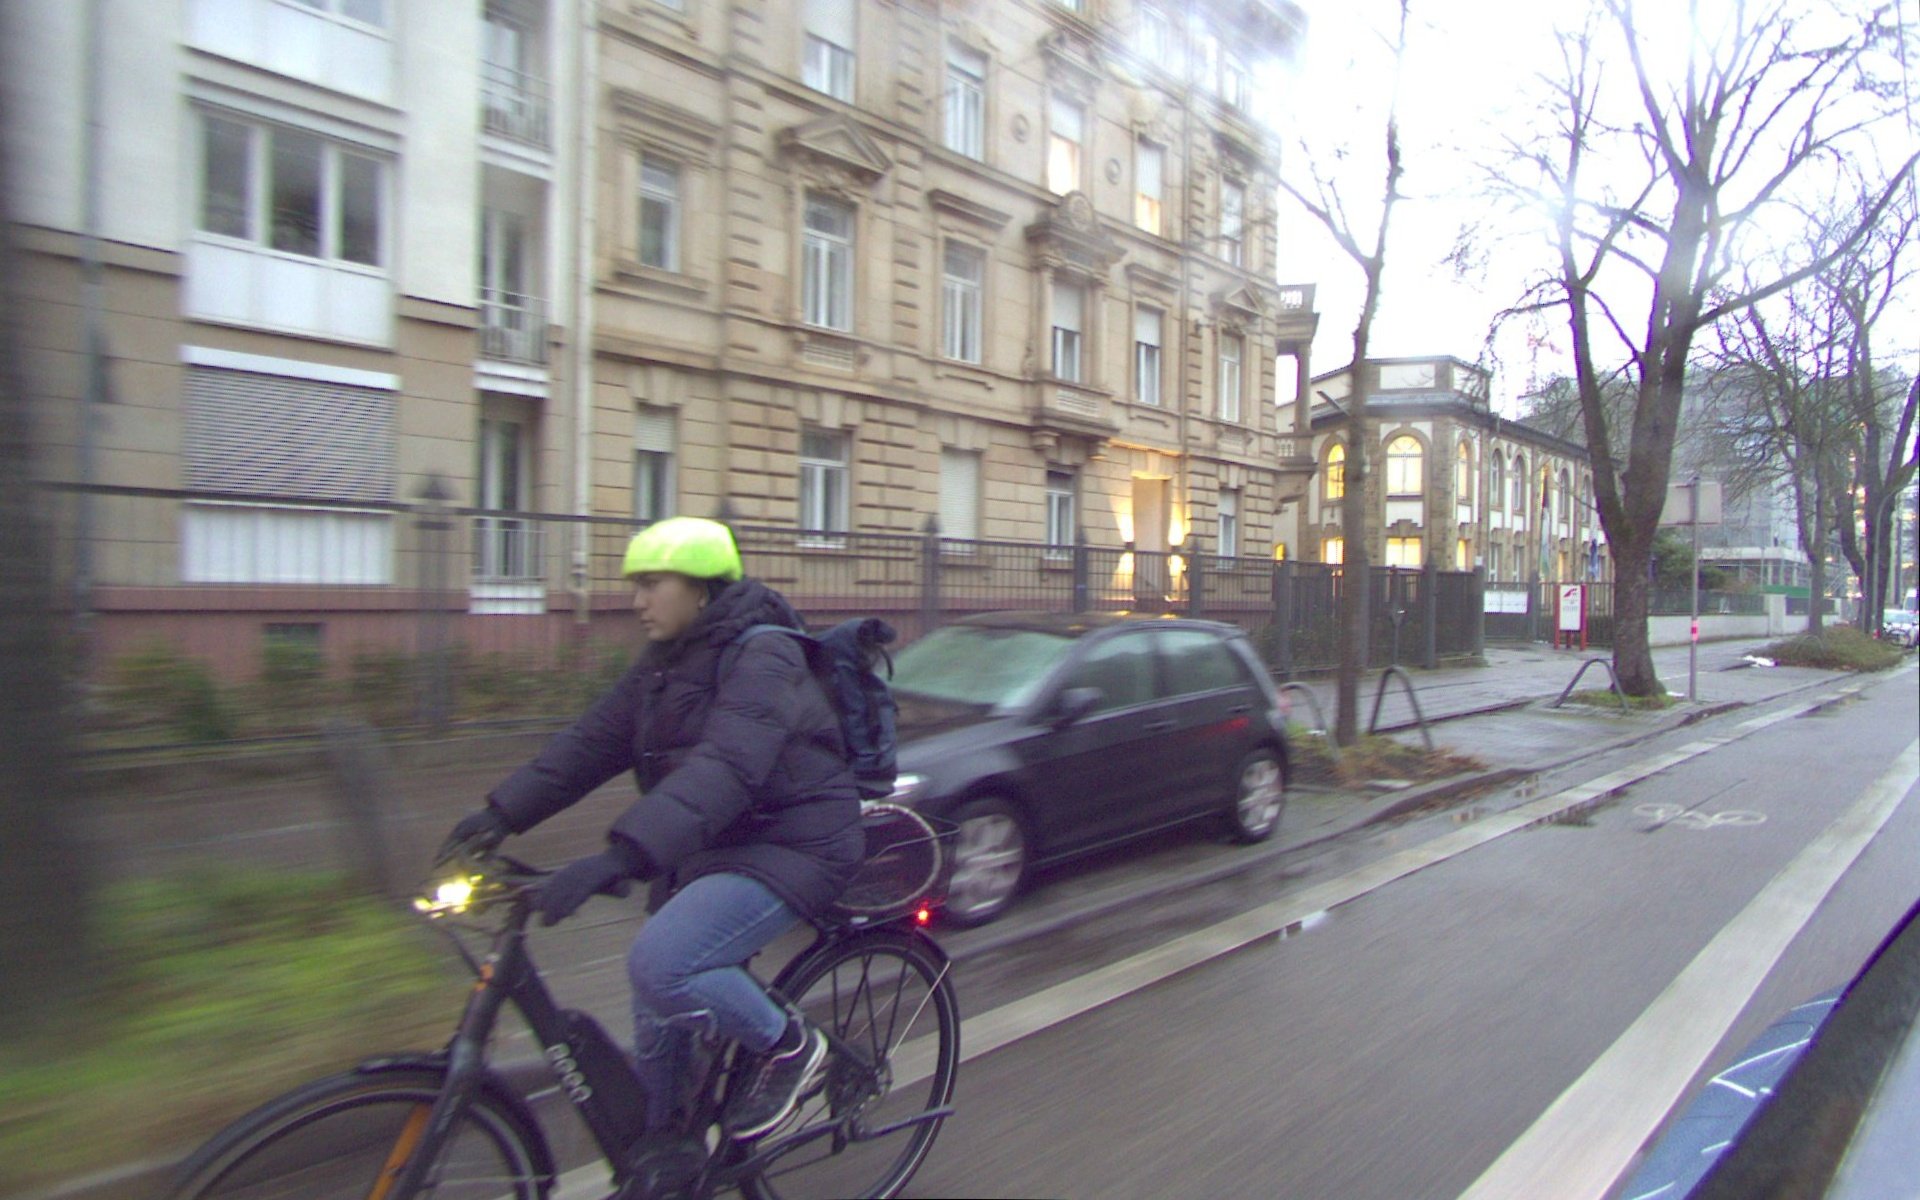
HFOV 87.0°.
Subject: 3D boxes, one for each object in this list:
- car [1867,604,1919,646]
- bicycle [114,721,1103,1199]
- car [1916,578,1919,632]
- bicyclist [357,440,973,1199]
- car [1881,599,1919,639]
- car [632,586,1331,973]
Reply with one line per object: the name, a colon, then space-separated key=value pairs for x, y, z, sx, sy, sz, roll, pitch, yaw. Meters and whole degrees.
car: x=35.132 y=0.890 z=37.836 sx=1.624 sy=1.425 sz=3.935 roll=0 pitch=0 yaw=45
bicycle: x=-0.547 y=0.928 z=2.189 sx=0.717 sy=1.126 sz=1.910 roll=-1 pitch=-1 yaw=44
car: x=49.781 y=0.240 z=51.095 sx=2.088 sy=2.670 sz=5.362 roll=0 pitch=0 yaw=45
bicyclist: x=-0.590 y=0.605 z=2.150 sx=0.717 sy=1.684 sz=1.039 roll=-2 pitch=-2 yaw=44
car: x=42.182 y=0.810 z=44.745 sx=1.994 sy=1.703 sz=3.935 roll=0 pitch=0 yaw=45
car: x=0.384 y=0.725 z=6.054 sx=4.087 sy=1.463 sz=1.760 roll=1 pitch=2 yaw=-43
